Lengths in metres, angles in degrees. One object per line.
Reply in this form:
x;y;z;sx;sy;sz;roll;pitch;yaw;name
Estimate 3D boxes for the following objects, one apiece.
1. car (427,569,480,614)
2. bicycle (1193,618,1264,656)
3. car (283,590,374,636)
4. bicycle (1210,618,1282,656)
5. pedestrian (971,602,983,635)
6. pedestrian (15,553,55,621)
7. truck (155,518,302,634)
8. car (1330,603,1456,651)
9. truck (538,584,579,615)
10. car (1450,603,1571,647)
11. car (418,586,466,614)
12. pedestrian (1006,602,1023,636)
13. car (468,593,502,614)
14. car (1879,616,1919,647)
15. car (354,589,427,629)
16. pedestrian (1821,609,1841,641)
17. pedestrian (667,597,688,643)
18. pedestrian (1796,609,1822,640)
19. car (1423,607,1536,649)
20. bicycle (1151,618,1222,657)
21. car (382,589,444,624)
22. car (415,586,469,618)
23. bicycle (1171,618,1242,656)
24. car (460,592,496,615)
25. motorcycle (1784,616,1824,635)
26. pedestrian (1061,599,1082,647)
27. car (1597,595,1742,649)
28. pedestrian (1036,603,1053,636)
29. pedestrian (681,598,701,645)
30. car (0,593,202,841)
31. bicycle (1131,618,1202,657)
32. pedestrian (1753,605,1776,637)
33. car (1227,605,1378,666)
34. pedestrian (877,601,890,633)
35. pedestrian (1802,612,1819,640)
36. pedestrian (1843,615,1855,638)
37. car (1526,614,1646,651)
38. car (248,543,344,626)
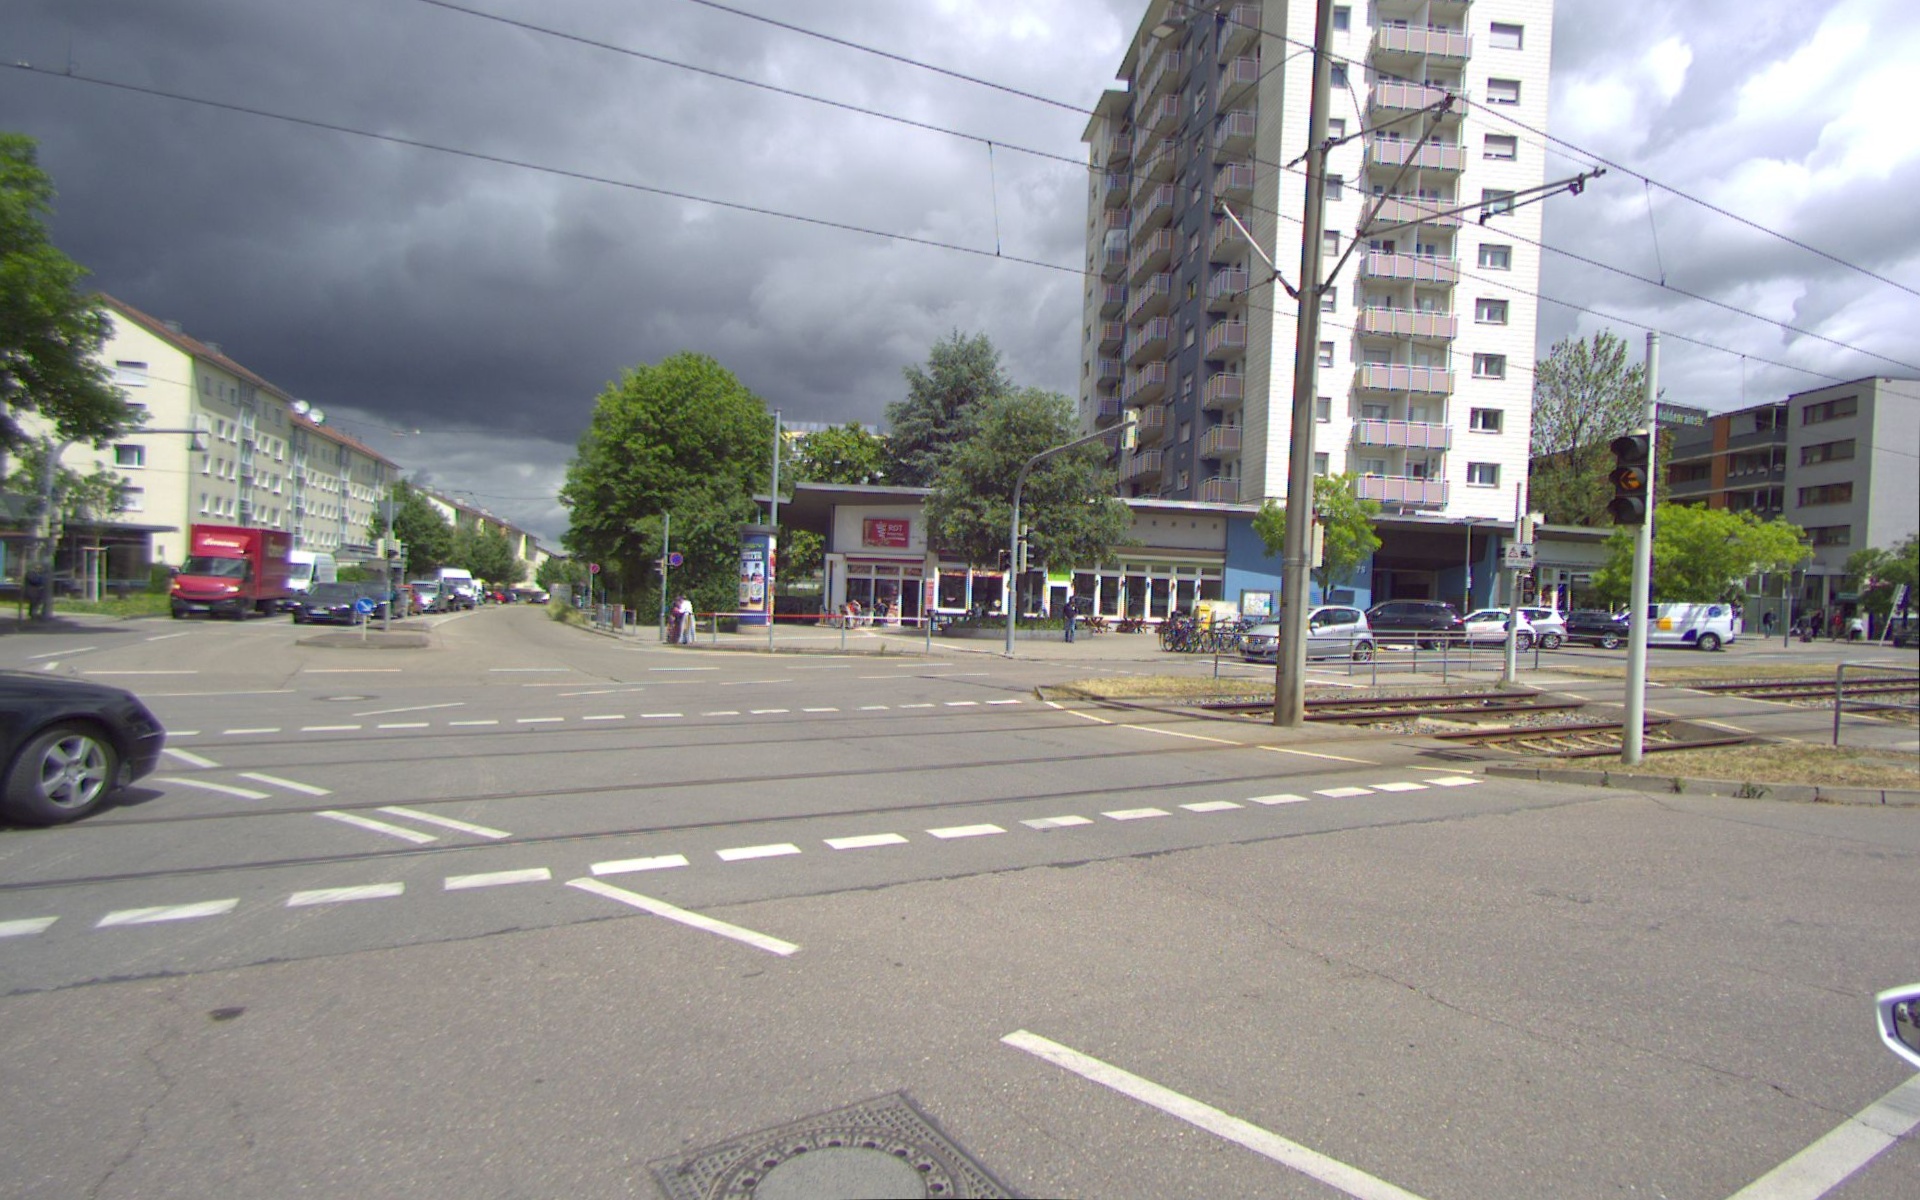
-32.946;-0.538;65.469;2.399;2.825;4.876;1;0;-19;car
8.257;1.117;31.019;0.696;1.080;2.418;1;0;-27;bicycle
-22.237;0.434;35.550;1.970;1.514;3.980;1;0;-21;car
8.892;1.125;31.358;0.696;1.080;2.418;1;0;-27;bicycle
0.791;0.836;46.205;0.515;1.492;0.572;1;0;4;pedestrian
-25.568;-0.354;27.758;0.874;1.835;0.641;1;0;36;pedestrian
-25.997;-0.768;36.084;2.509;3.723;7.064;1;0;-21;truck
15.547;0.948;36.268;3.919;1.613;1.933;1;0;14;car
-34.898;-0.032;87.437;2.904;2.583;7.003;1;0;-19;truck
22.073;0.973;40.432;3.919;1.654;1.907;1;0;15;car
-30.646;0.005;59.528;1.969;1.623;3.983;1;0;-19;car
2.435;0.851;44.892;0.564;1.492;0.523;0;0;-25;pedestrian
-37.558;0.250;79.546;1.969;1.623;3.983;1;0;-19;car
50.484;1.646;52.784;4.324;1.447;1.728;1;3;-27;car
-23.995;0.360;42.451;1.969;1.623;3.983;1;0;-19;car
49.792;1.404;57.437;0.833;1.816;0.608;0;0;-30;pedestrian
-9.312;0.652;33.128;0.516;1.492;0.572;1;0;-2;pedestrian
46.647;1.343;55.191;0.602;1.672;0.842;1;1;-9;pedestrian
19.882;1.043;38.604;3.693;1.516;1.747;1;0;22;car
6.761;1.099;30.164;0.696;1.080;2.418;1;0;-27;bicycle
-26.263;0.297;48.341;1.969;1.623;3.983;1;0;-19;car
-27.378;0.096;53.235;1.969;1.623;3.983;1;0;-19;car
7.462;1.108;30.525;0.696;1.080;2.418;1;0;-27;bicycle
-35.951;0.256;74.999;1.969;1.623;3.983;1;0;-19;car
55.494;1.677;66.024;0.733;1.194;1.882;1;0;-31;motorcycle
3.958;0.816;35.730;0.594;1.665;0.414;0;0;-31;pedestrian
30.184;0.919;42.889;4.668;2.185;1.906;1;0;20;car
3.767;0.866;45.006;0.564;1.492;0.523;0;0;-25;pedestrian
-8.747;0.700;32.623;0.516;1.492;0.519;1;0;-2;pedestrian
-6.721;0.653;4.847;1.938;1.417;4.676;1;0;16;car
6.084;1.091;29.789;0.696;1.080;2.418;1;0;-27;bicycle
45.608;1.177;56.957;0.827;1.816;0.873;1;0;25;pedestrian
9.349;0.924;27.398;3.704;1.553;1.813;1;0;-25;car
-3.546;0.791;46.597;0.515;1.492;0.572;1;0;4;pedestrian
50.056;1.519;59.133;0.654;1.595;0.686;1;0;33;pedestrian
55.927;1.663;63.195;0.490;1.479;0.559;1;0;33;pedestrian
25.949;1.322;41.798;3.921;1.402;1.906;1;0;20;car
-28.813;-0.627;43.816;1.969;3.343;6.277;1;0;-19;car
